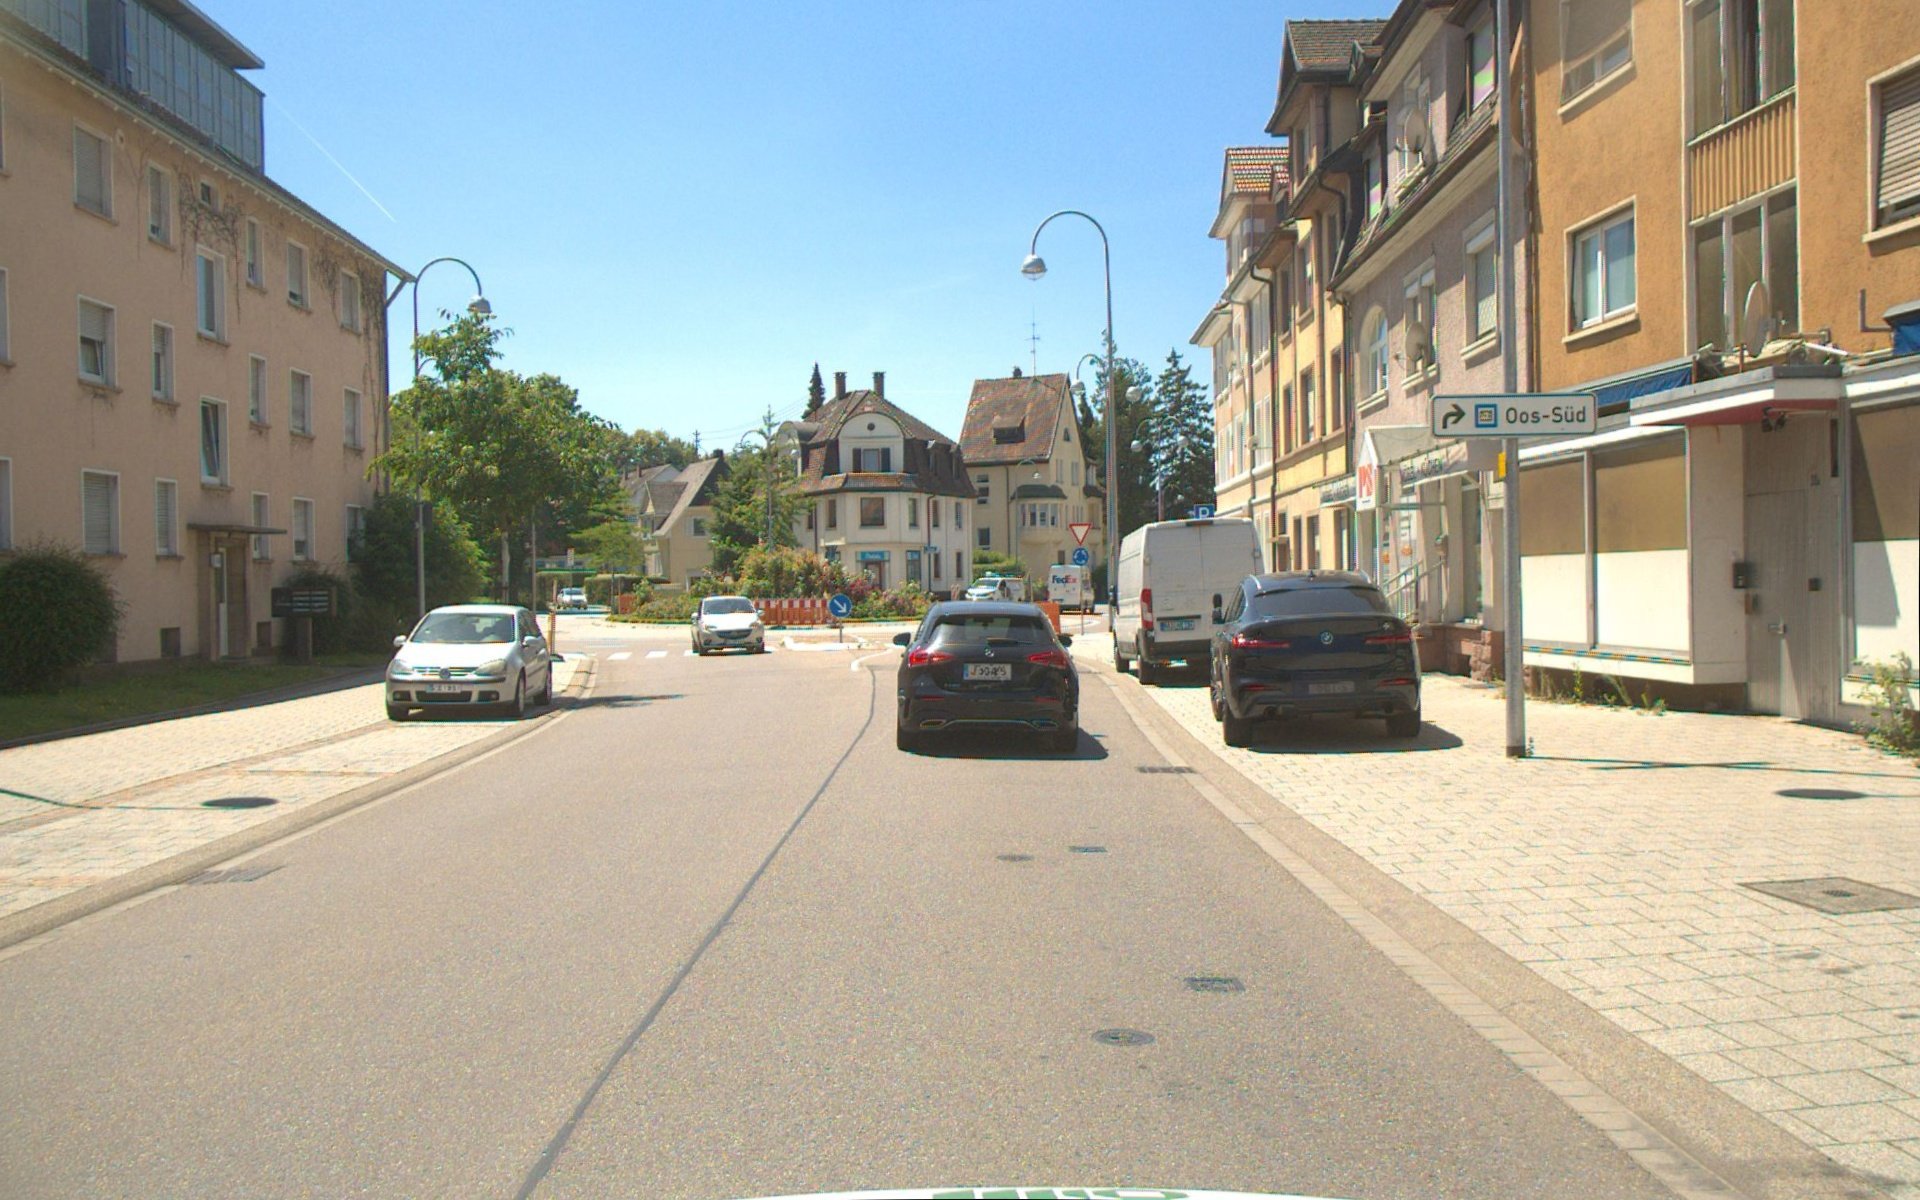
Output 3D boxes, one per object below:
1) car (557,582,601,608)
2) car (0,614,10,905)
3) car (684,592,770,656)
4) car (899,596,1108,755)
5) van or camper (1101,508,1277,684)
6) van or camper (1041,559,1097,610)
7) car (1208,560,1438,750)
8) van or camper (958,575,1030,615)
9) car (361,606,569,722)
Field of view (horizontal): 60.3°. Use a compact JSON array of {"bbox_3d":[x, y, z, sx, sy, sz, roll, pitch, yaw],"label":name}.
[{"bbox_3d":[-27.026,-0.332,117.365,1.747,1.625,3.923,-1,-2,8],"label":"car"},{"bbox_3d":[-5.854,0.859,6.465,1.820,1.533,4.560,1,1,-3],"label":"car"},{"bbox_3d":[-6.092,0.604,42.961,1.633,1.523,3.741,-2,0,-17],"label":"car"},{"bbox_3d":[0.364,0.699,17.160,1.914,1.452,3.999,0,0,-1],"label":"car"},{"bbox_3d":[3.771,-0.080,28.380,2.120,2.634,5.766,-2,0,0],"label":"van or camper"},{"bbox_3d":[5.870,-0.828,88.562,2.159,2.656,4.003,-1,0,16],"label":"van or camper"},{"bbox_3d":[3.598,0.492,17.131,1.855,1.635,4.368,-3,0,7],"label":"car"},{"bbox_3d":[2.020,-0.261,96.425,1.956,2.210,5.404,0,0,29],"label":"van or camper"},{"bbox_3d":[-6.757,0.815,23.029,1.954,1.445,4.084,0,0,-5],"label":"car"}]
